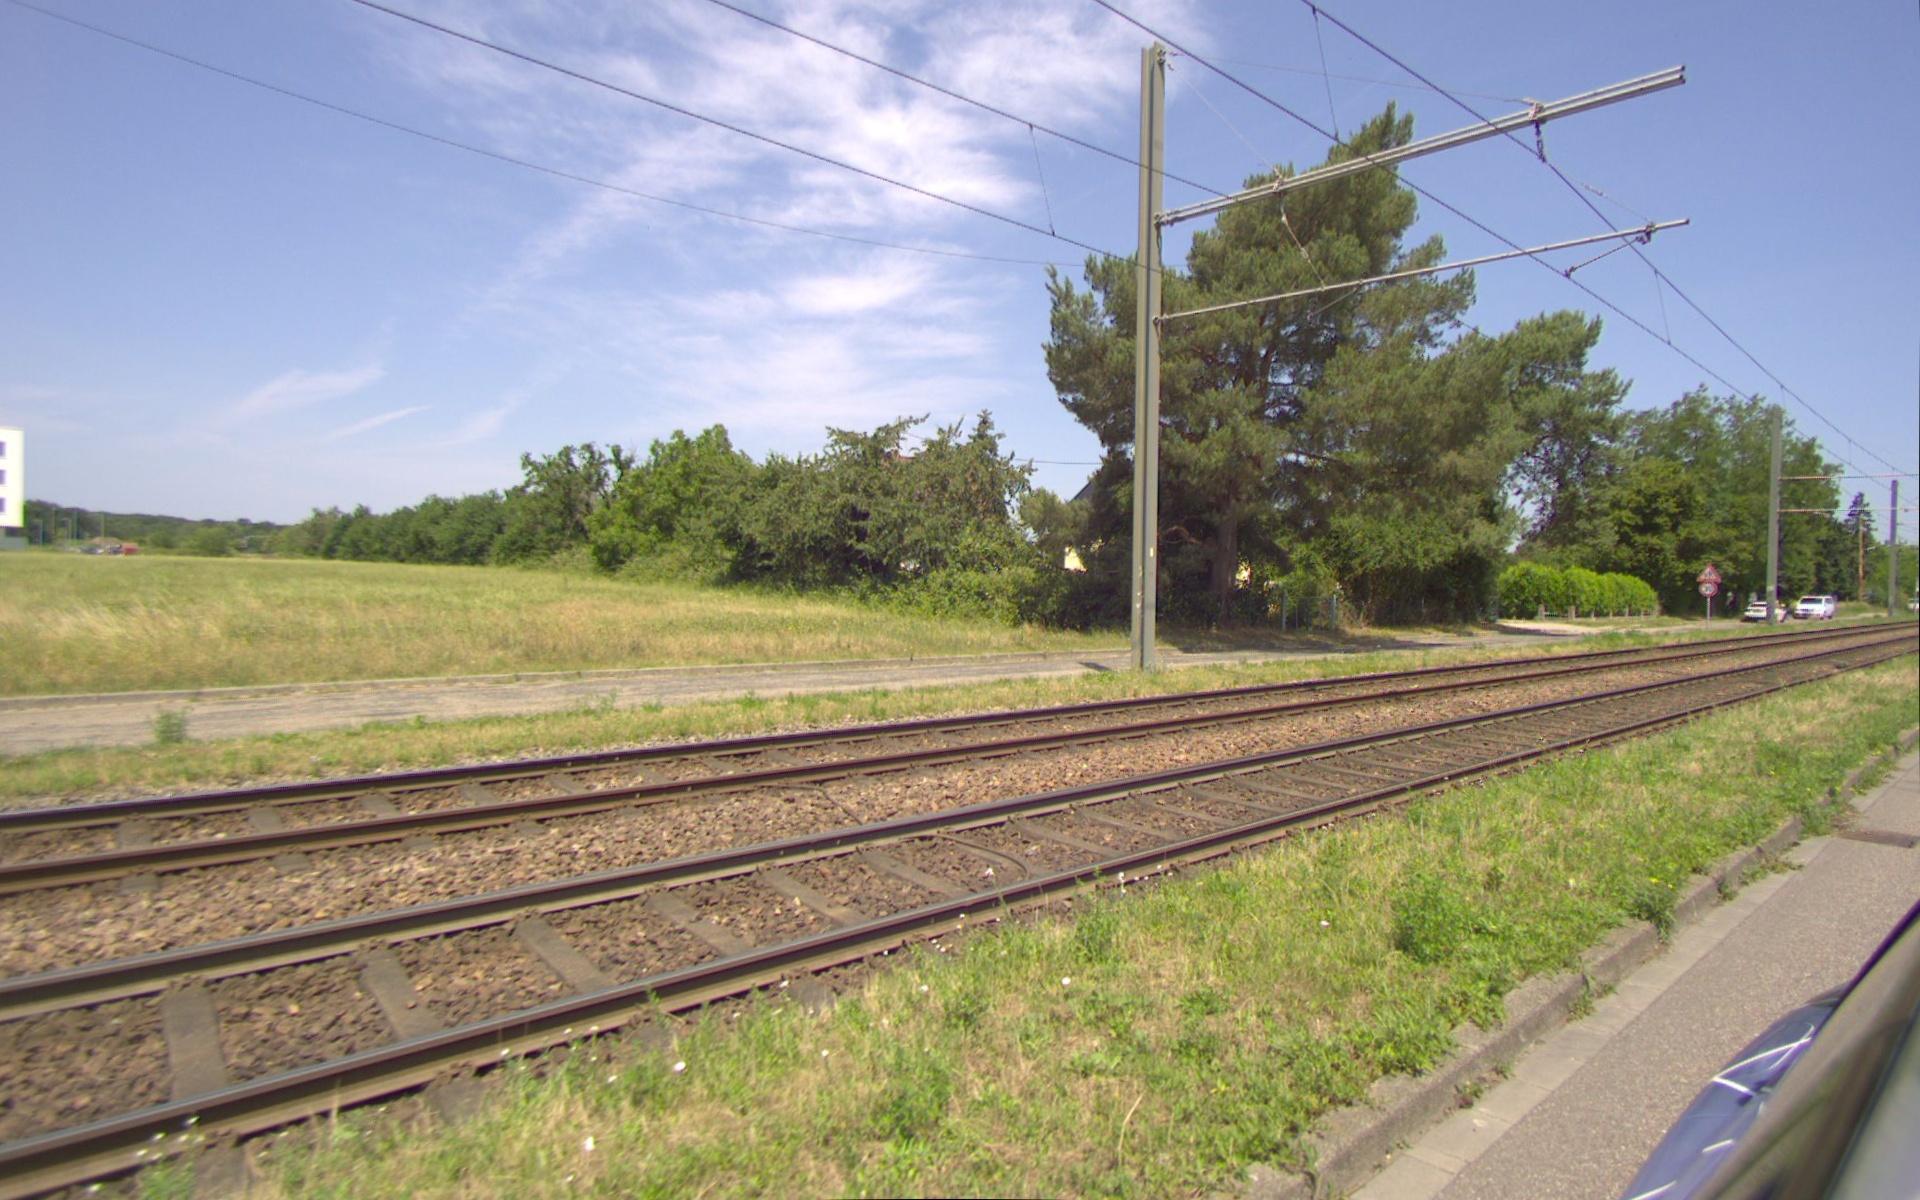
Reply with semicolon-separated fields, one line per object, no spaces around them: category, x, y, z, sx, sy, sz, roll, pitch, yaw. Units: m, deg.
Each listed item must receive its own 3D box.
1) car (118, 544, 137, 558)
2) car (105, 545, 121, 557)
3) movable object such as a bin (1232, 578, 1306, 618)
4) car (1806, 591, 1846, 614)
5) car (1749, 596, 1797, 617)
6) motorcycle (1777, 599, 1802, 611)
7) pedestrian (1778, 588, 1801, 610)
car;-126.737;-7.493;154.031;1.834;1.940;4.674;0;1;-43
car;-139.233;-8.116;166.419;1.736;1.841;4.207;0;1;-44
movable object such as a bin;13.714;-0.090;44.921;2.647;1.652;1.997;0;2;-41
car;71.083;0.191;83.011;4.507;1.849;1.862;0;1;-41
car;56.510;0.449;70.331;3.930;1.401;1.921;0;1;-41
motorcycle;63.321;0.372;77.235;2.738;0.919;0.859;0;1;-37
pedestrian;63.200;-0.094;77.096;0.863;1.684;1.172;0;0;-36
